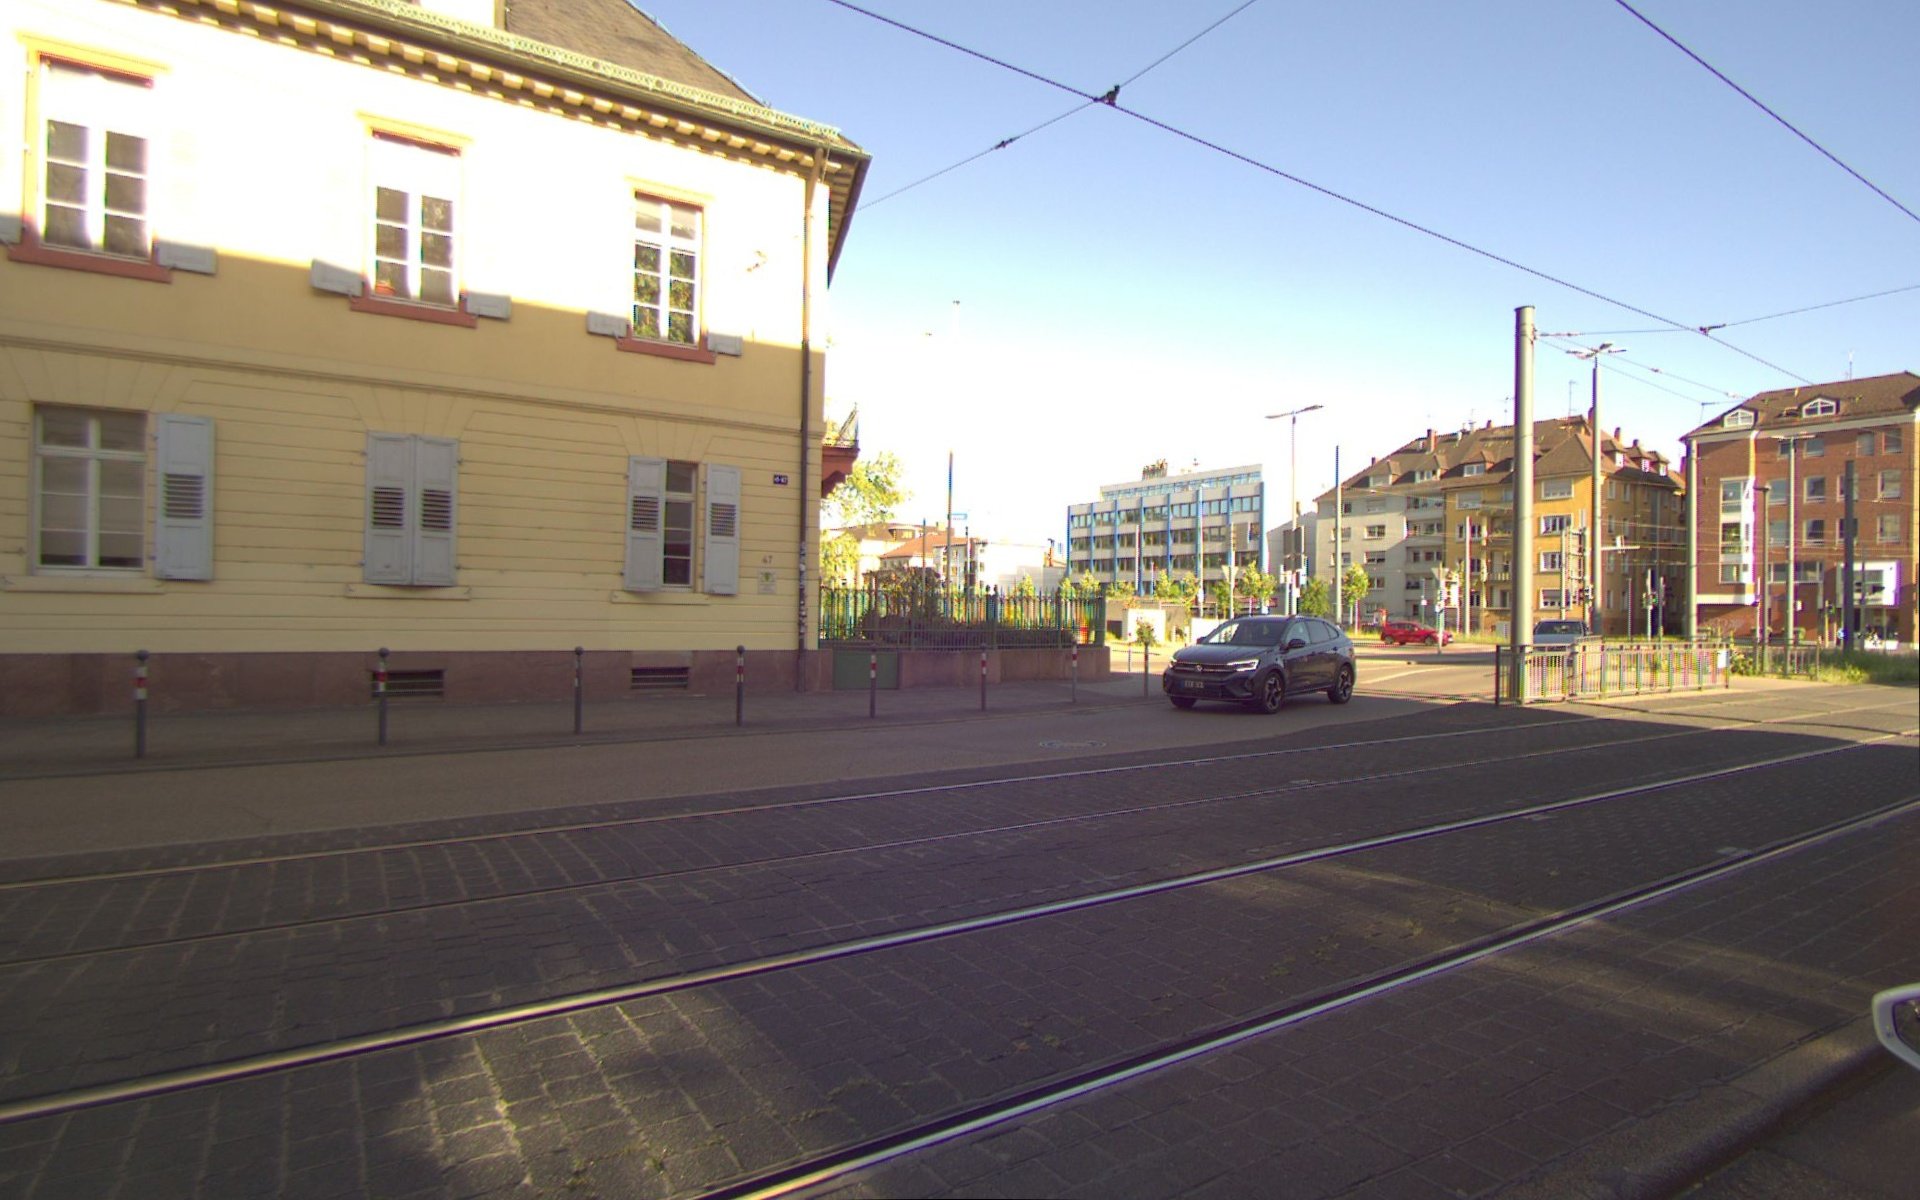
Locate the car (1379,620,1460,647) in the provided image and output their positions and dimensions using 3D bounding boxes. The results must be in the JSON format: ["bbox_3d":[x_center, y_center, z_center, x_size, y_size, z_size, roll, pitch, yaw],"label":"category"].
[{"bbox_3d":[28.350,2.050,62.109,1.922,1.510,4.112,1,0,-39],"label":"car"}]

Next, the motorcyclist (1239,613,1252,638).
[{"bbox_3d":[20.683,1.835,72.682,0.385,1.731,0.775,1,1,-37],"label":"motorcyclist"}]

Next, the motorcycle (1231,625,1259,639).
[{"bbox_3d":[20.633,2.315,72.785,0.556,0.905,1.983,1,1,-38],"label":"motorcycle"}]

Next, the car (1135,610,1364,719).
[{"bbox_3d":[4.869,0.979,16.543,4.251,1.532,1.747,2,-1,-44],"label":"car"}]

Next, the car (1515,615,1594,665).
[{"bbox_3d":[20.268,1.318,34.154,1.760,1.589,4.274,-1,-1,39],"label":"car"}]
